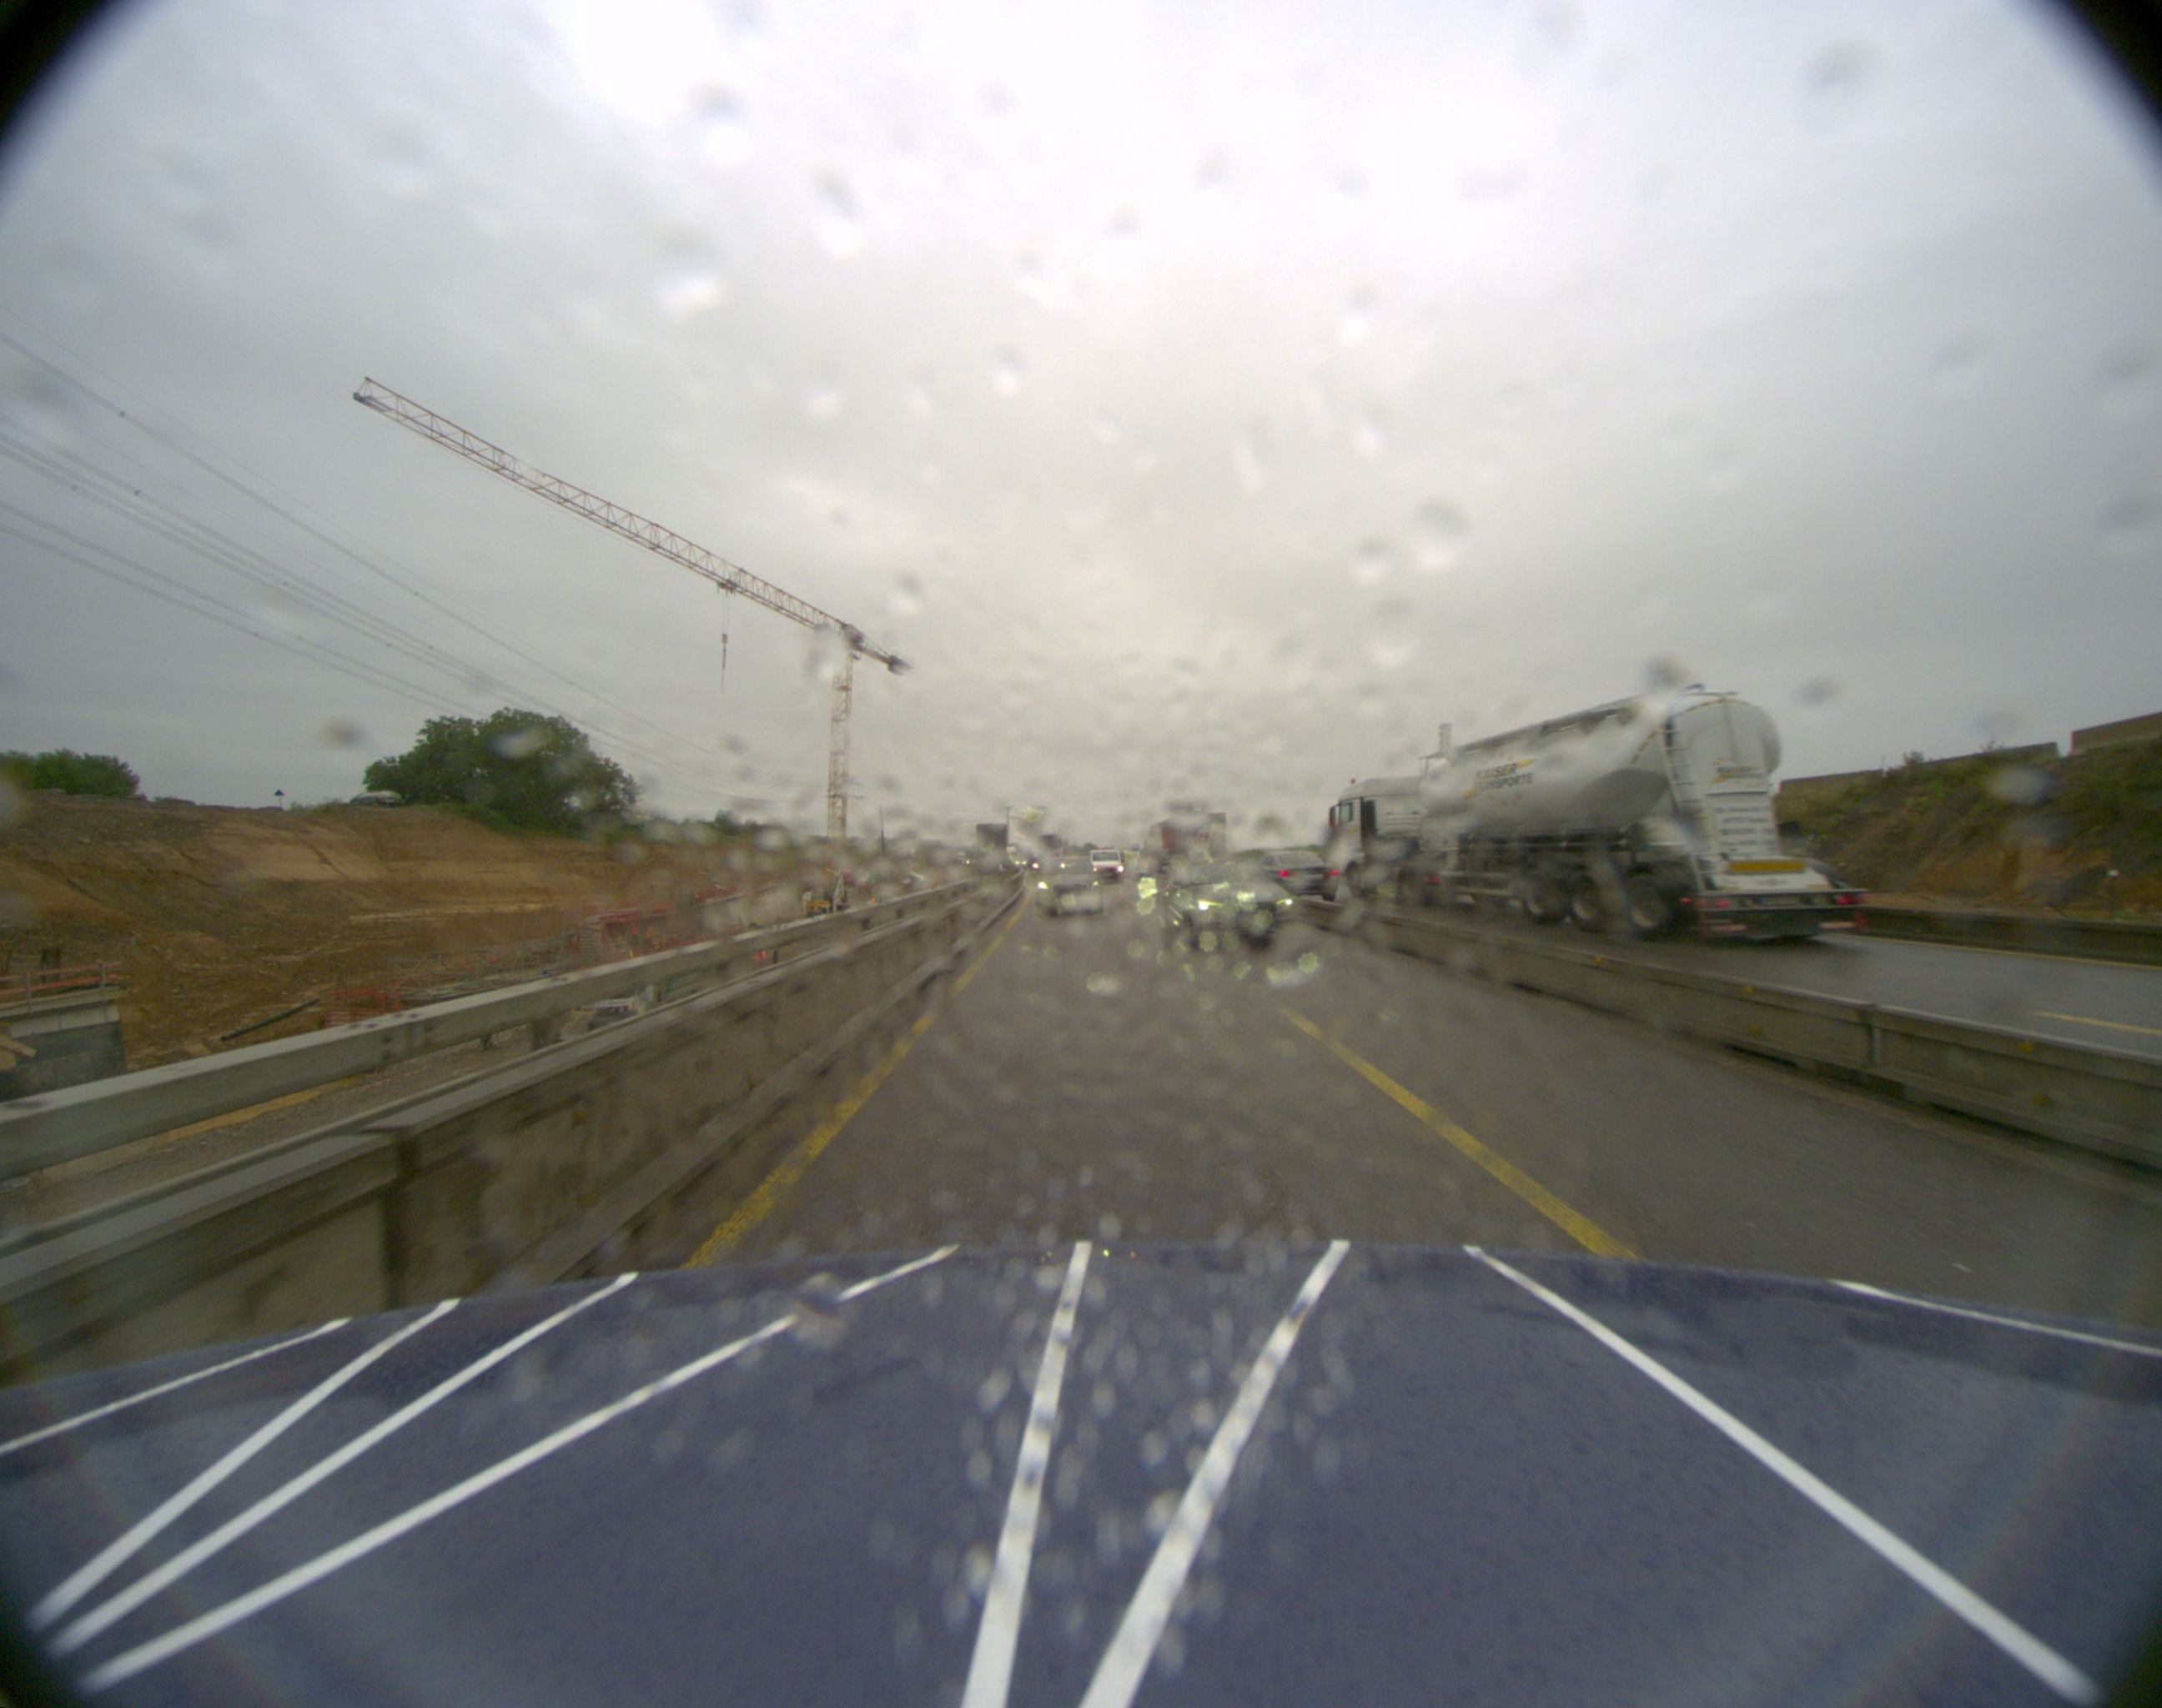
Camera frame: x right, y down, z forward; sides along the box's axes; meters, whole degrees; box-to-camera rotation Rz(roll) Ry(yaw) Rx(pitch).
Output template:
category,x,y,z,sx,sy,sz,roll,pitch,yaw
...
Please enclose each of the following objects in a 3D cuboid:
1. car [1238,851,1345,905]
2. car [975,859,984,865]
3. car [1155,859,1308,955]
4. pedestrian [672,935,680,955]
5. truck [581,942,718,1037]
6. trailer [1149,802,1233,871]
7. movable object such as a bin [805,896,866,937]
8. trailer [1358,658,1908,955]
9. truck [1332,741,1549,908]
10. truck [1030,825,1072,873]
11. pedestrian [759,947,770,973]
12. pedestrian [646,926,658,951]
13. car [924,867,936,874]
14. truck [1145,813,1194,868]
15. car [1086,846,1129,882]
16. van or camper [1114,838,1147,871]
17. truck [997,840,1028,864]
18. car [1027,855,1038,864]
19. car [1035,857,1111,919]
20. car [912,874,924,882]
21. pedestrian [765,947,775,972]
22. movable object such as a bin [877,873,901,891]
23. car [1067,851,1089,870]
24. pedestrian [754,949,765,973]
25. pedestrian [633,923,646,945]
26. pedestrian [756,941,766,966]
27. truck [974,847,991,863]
category,x,y,z,sx,sy,sz,roll,pitch,yaw
car,6.186,0.642,23.000,1.808,1.431,4.950,0,1,-1
car,-24.652,1.964,184.439,1.790,1.418,3.998,-2,0,-5
car,2.543,0.841,13.856,1.805,1.375,4.086,-1,1,-2
pedestrian,-36.553,8.181,68.618,0.489,1.750,0.481,1,1,-5
truck,-24.214,7.441,43.328,2.710,3.591,9.070,0,2,-1
trailer,7.721,-1.082,56.138,3.004,4.395,15.697,0,0,-3
movable object such as a bin,-24.924,6.283,77.523,3.516,3.405,6.653,-1,2,5
trailer,9.546,-0.693,16.011,3.263,3.941,11.535,-1,1,0
truck,9.575,-0.737,21.113,3.239,3.933,5.880,-1,1,0
truck,-2.492,-0.404,60.449,2.857,3.462,8.639,-1,1,-5
pedestrian,-24.508,8.207,58.898,0.603,1.894,0.614,0,1,-4
pedestrian,-36.676,7.209,64.976,0.489,2.088,0.481,-6,2,-4
car,-37.432,4.145,188.336,2.352,1.609,4.856,0,1,-6
truck,7.290,-1.059,63.354,2.988,4.383,6.929,0,0,-3
car,1.475,0.515,43.924,2.070,1.934,5.154,-1,1,-2
van or camper,4.118,0.036,64.542,2.284,2.599,5.827,-2,1,-1
truck,-13.249,-0.378,145.213,4.322,4.319,13.393,-2,0,-12
car,-9.129,1.059,143.115,1.790,1.646,3.997,-2,1,-7
car,-0.283,0.846,21.123,1.875,1.481,4.259,-1,0,-2
car,-34.339,5.040,159.976,1.860,1.609,4.077,0,1,-6
pedestrian,-24.494,8.334,59.916,0.603,1.894,0.481,1,1,-4
movable object such as a bin,-35.635,5.128,140.948,3.502,2.865,3.998,5,0,-5
car,-0.335,0.649,77.025,1.790,1.744,3.998,-2,1,-5
pedestrian,-24.619,8.223,58.224,0.603,1.759,0.481,3,1,-4
pedestrian,-36.811,6.676,63.320,0.488,1.794,0.583,-5,2,36
pedestrian,-25.422,7.929,60.429,0.603,1.894,0.481,1,1,-4
truck,-24.725,0.239,191.027,3.547,3.871,8.331,-2,1,-5
